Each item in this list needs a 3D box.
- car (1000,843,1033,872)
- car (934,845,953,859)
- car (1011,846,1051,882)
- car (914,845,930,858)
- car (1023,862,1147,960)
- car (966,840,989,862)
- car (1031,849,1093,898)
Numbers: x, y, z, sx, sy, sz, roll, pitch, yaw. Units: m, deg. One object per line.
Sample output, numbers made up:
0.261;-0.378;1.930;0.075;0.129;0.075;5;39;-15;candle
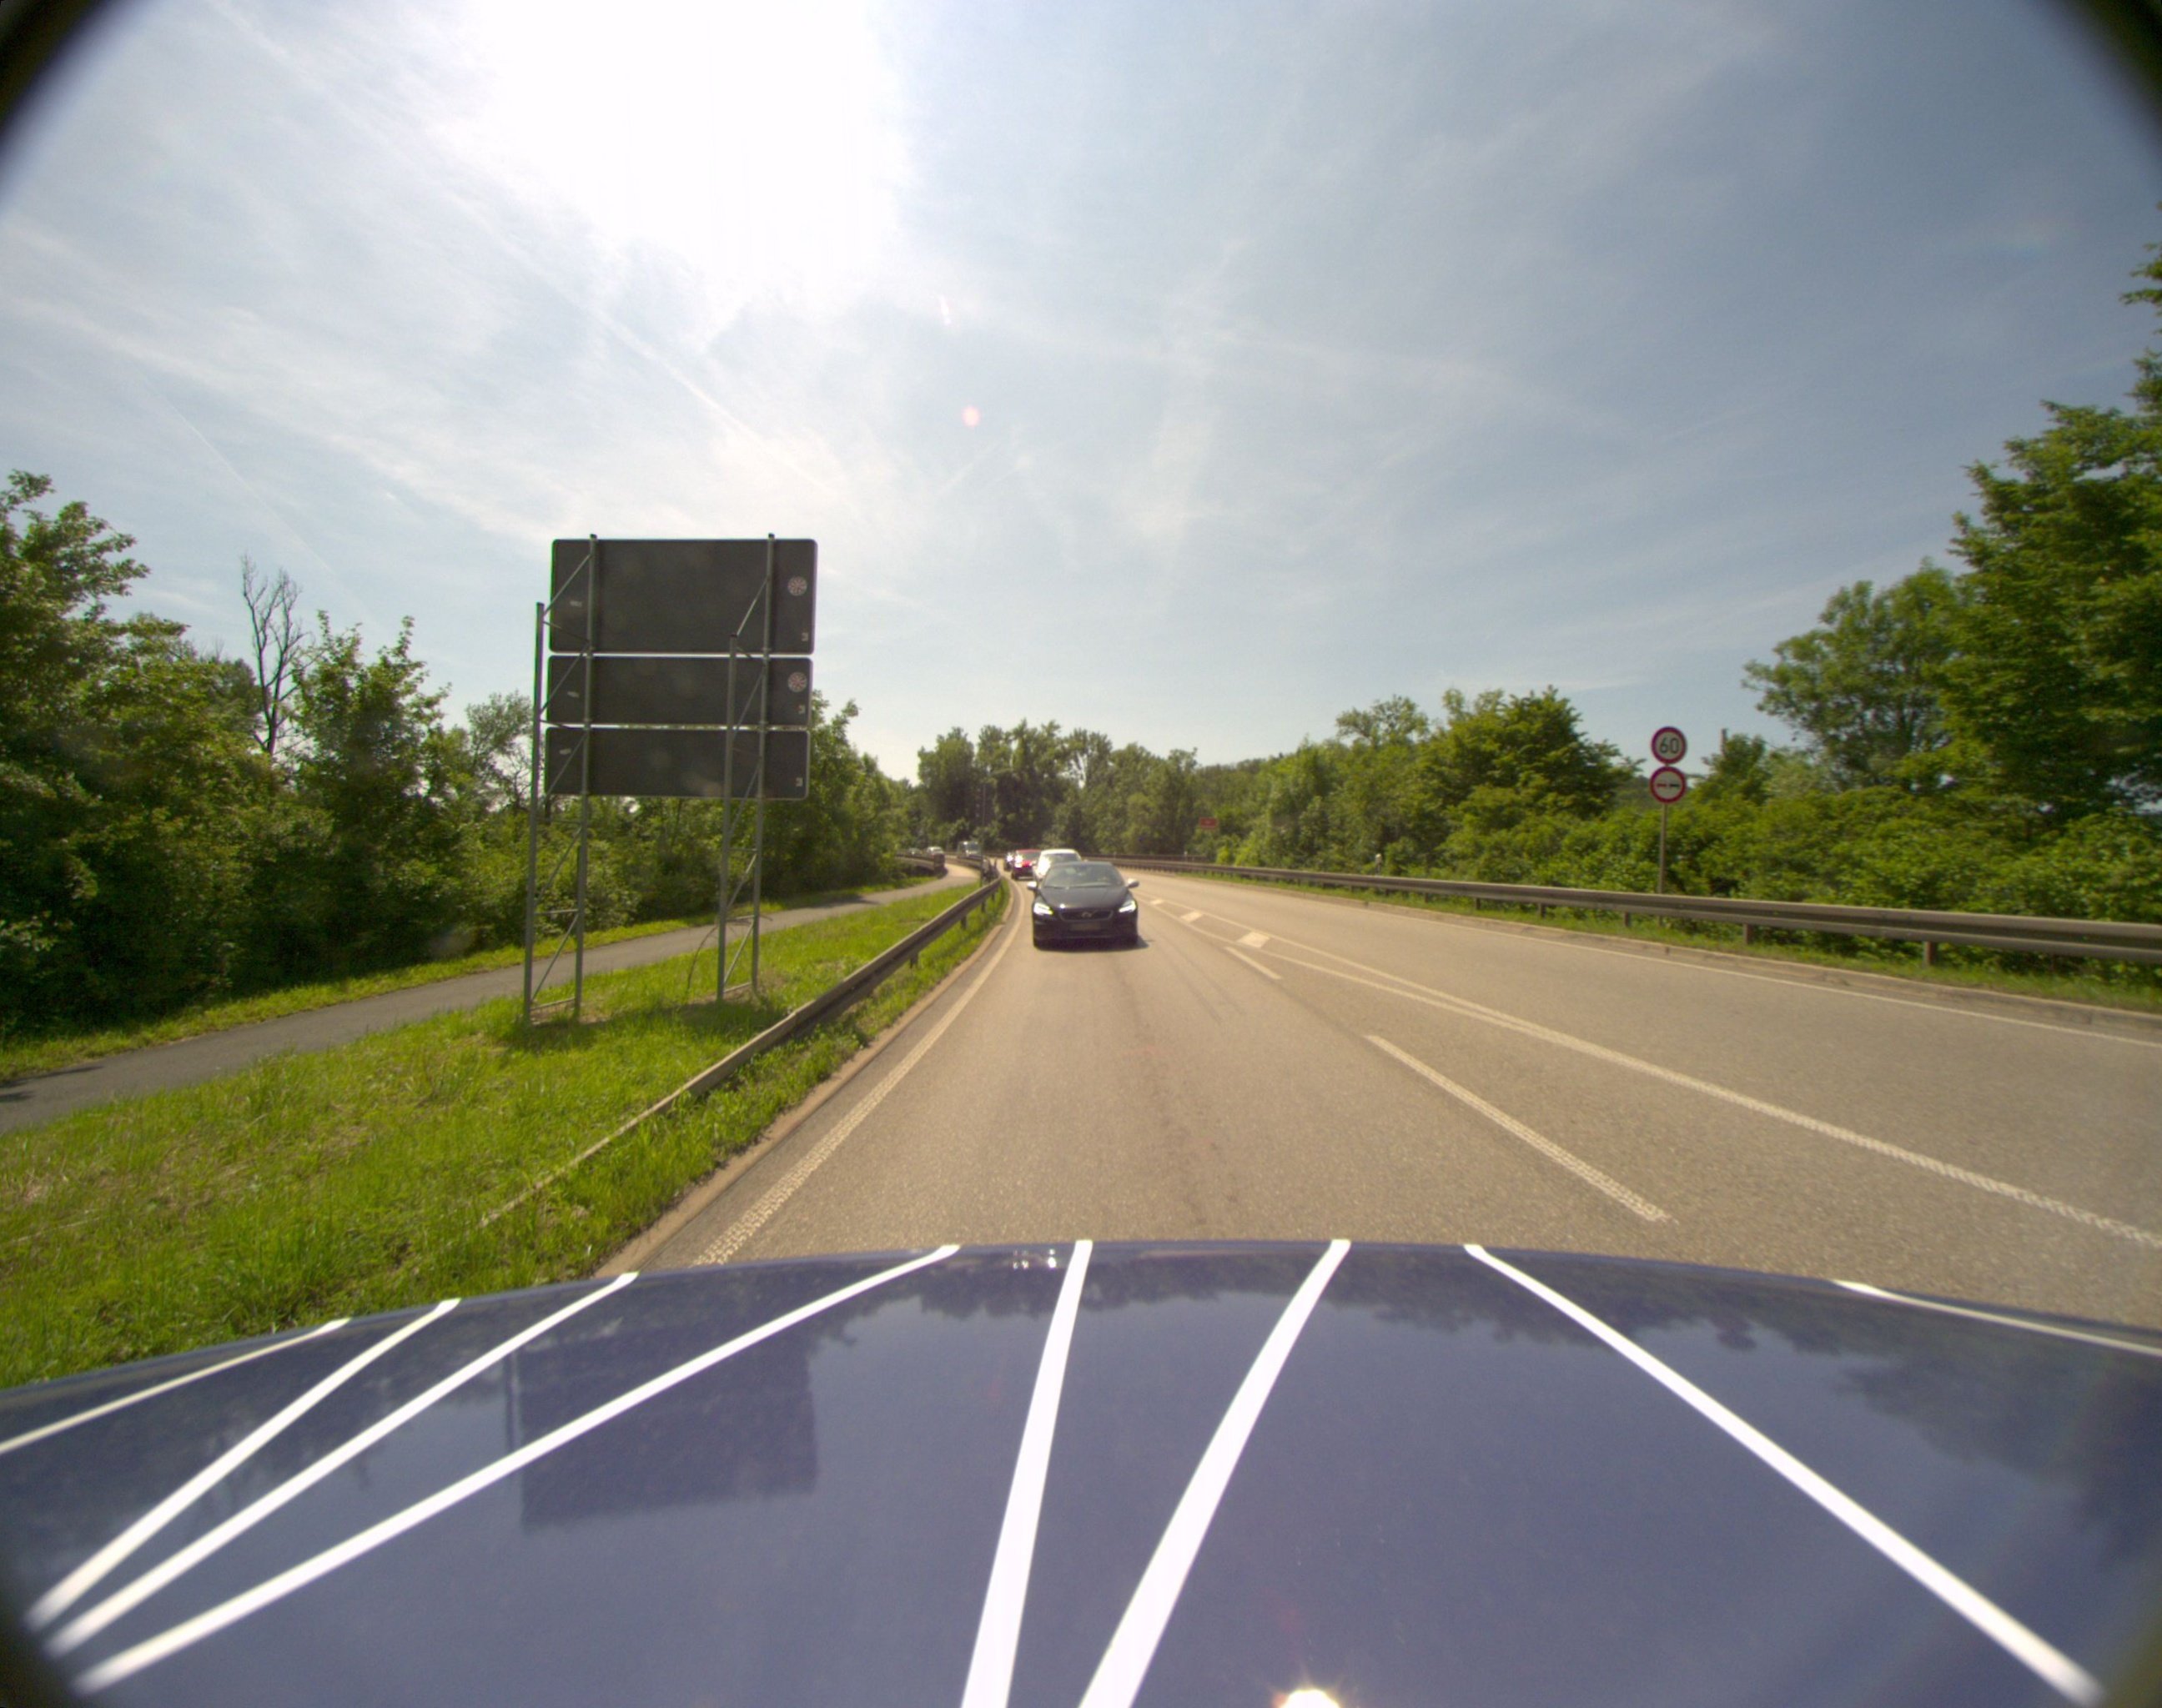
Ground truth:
-5.040;0.227;58.695;2.000;2.002;3.994;-2;2;-12;car
-20.236;-0.317;111.625;2.002;2.002;4.703;-3;2;-20;car
-2.849;0.489;42.383;2.000;1.766;3.996;-2;2;-6;car
-26.678;-0.428;127.455;2.002;2.002;3.992;-3;2;-21;car
-0.033;0.912;13.931;1.909;1.413;3.949;-2;0;-3;car
-12.501;-0.437;91.571;2.001;2.471;4.851;-3;2;-15;car
-0.775;0.649;27.765;1.910;1.638;3.948;-1;0;-6;car
